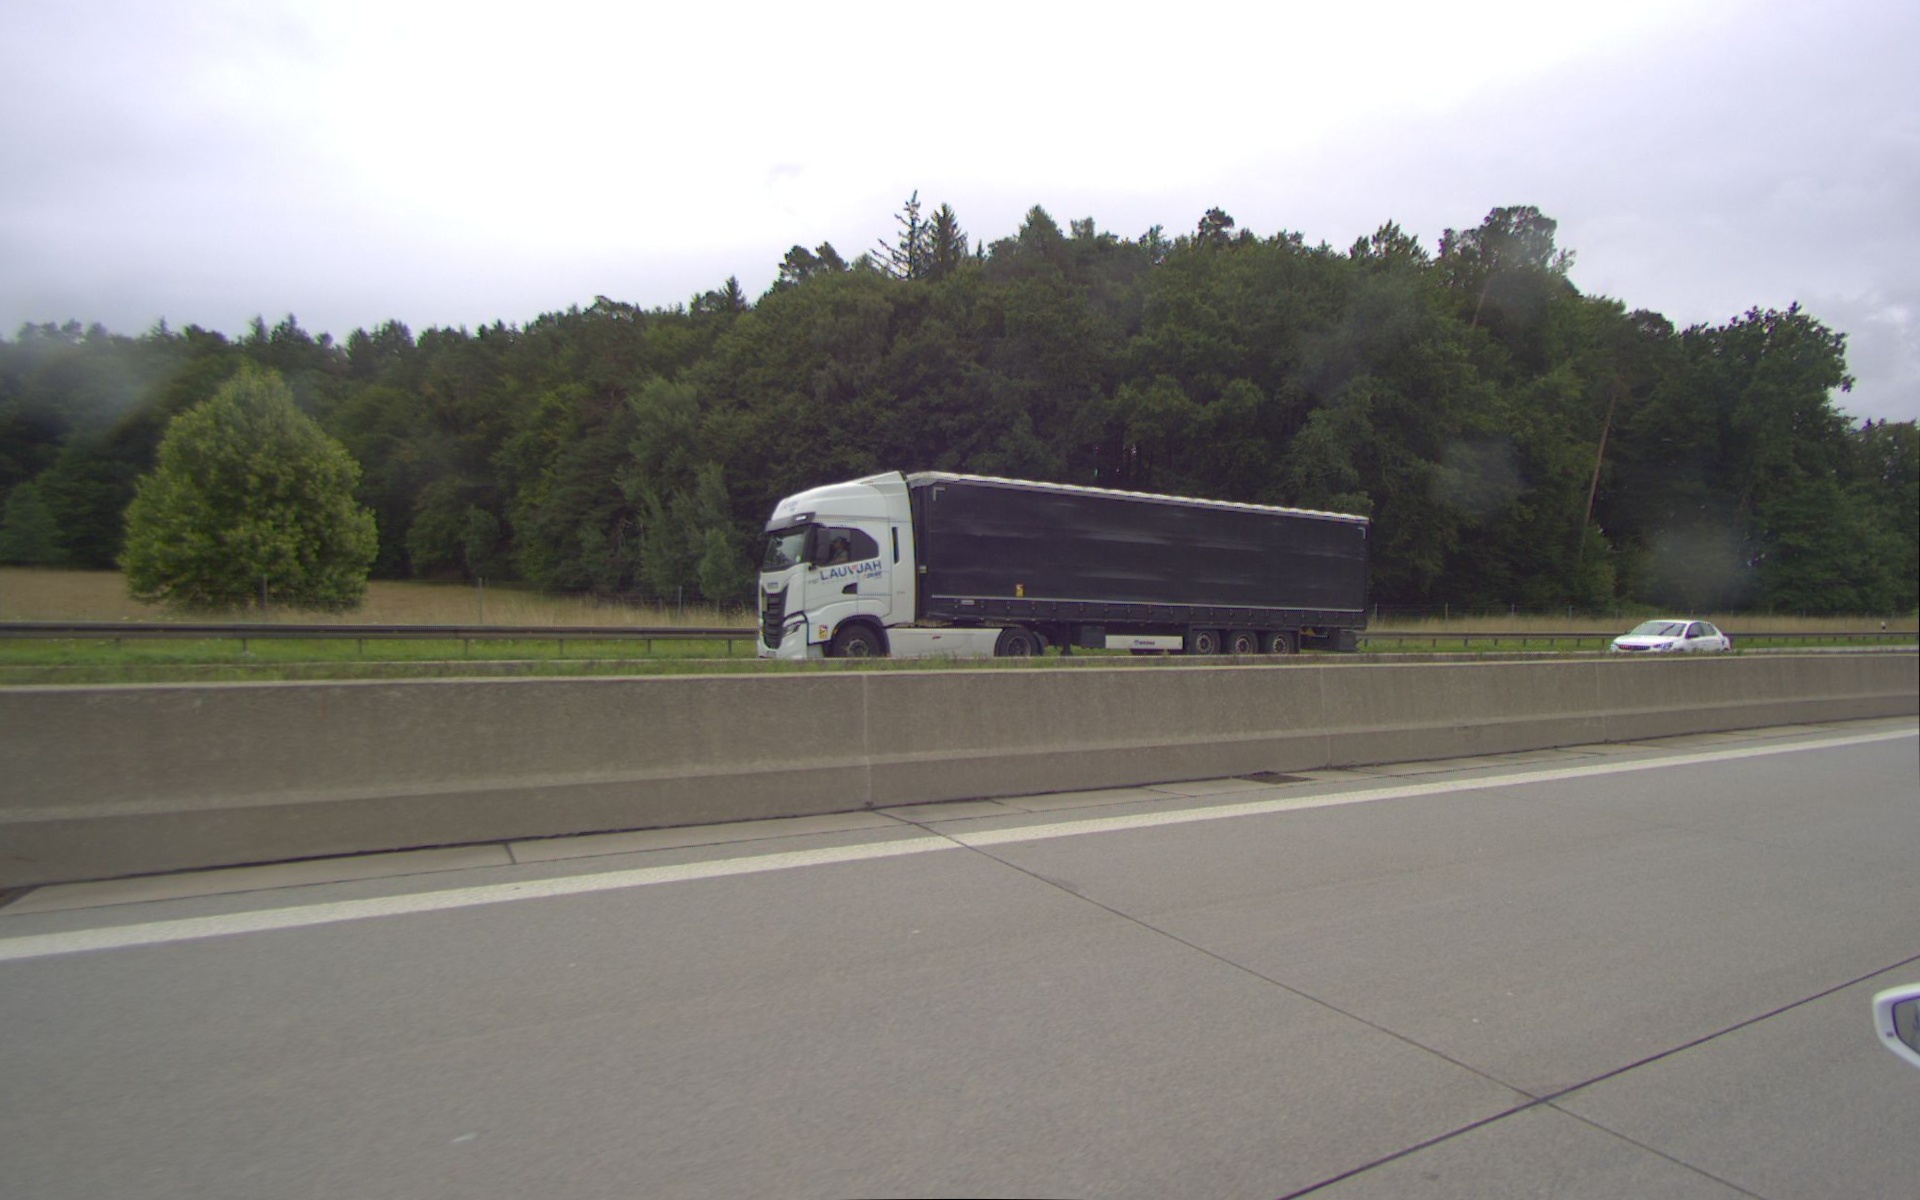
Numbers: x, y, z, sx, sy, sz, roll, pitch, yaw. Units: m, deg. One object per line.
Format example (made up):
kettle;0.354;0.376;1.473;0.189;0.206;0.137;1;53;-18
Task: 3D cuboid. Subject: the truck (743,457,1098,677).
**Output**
truck;-0.797;-0.580;22.022;7.081;4.111;3.197;1;1;-30

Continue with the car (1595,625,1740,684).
car;20.565;1.536;29.176;4.320;1.488;1.775;1;2;-30

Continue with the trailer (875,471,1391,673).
trailer;4.892;-0.464;25.316;13.962;4.107;3.220;1;0;-30
